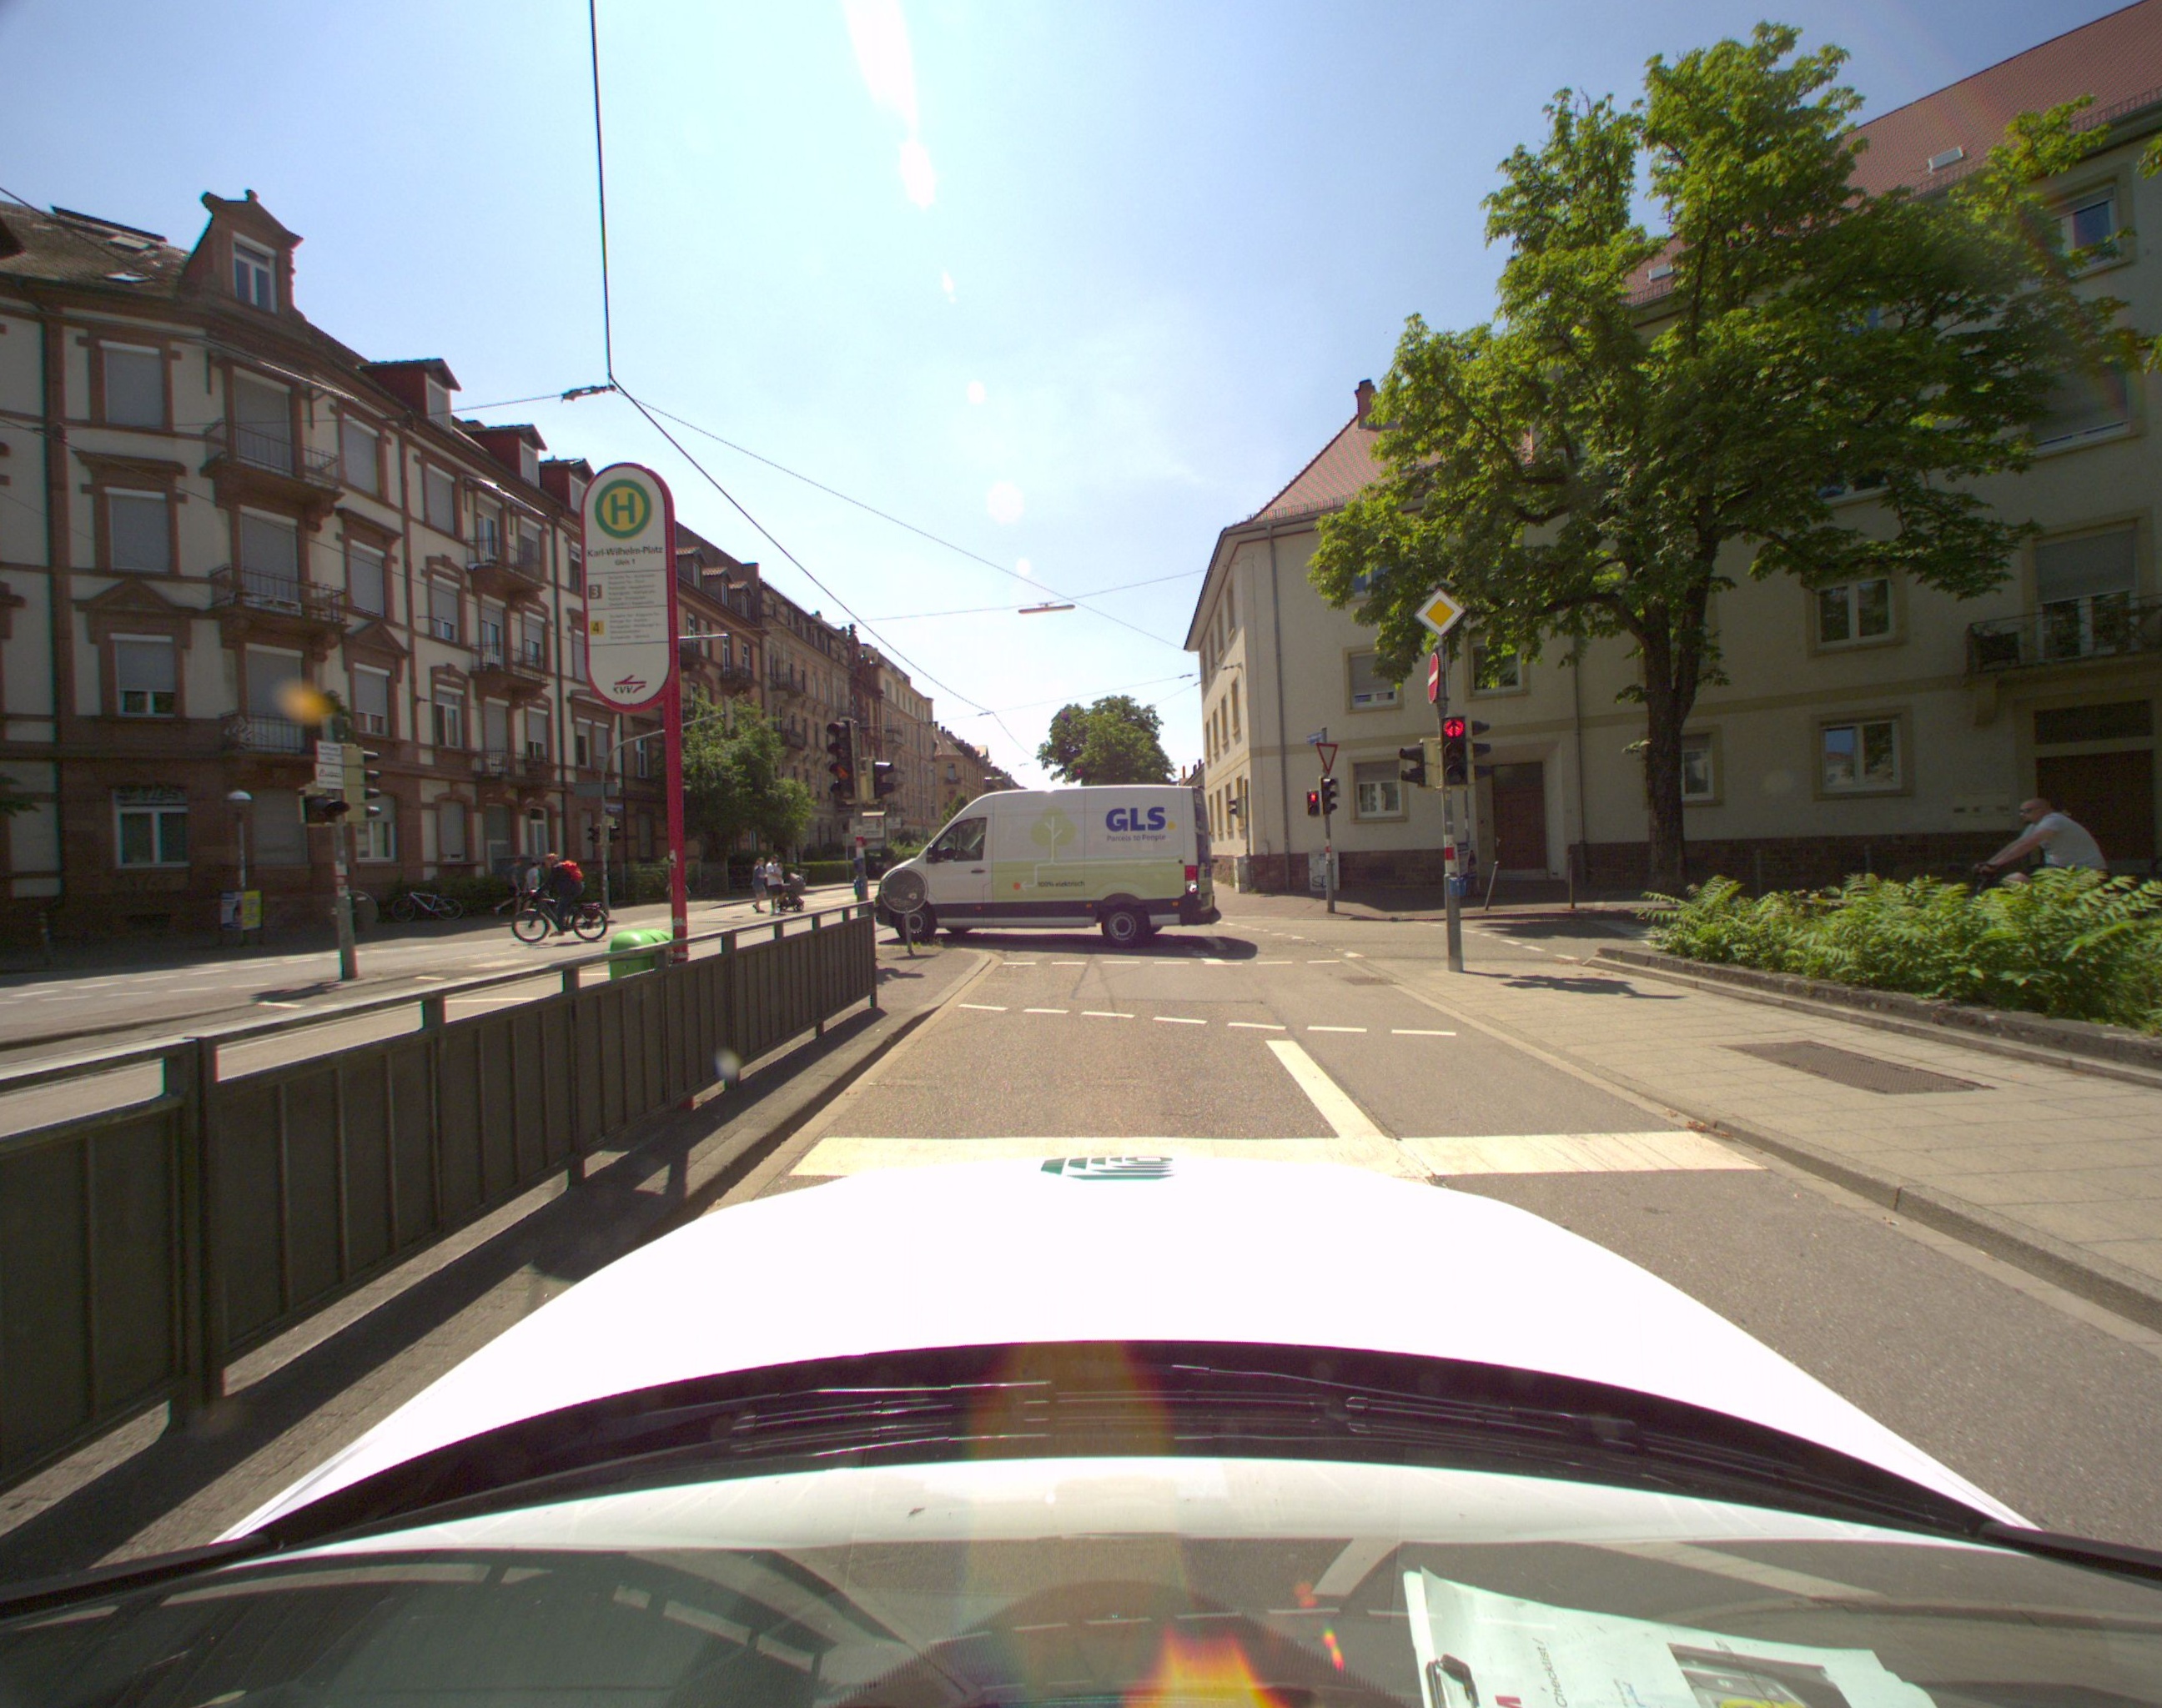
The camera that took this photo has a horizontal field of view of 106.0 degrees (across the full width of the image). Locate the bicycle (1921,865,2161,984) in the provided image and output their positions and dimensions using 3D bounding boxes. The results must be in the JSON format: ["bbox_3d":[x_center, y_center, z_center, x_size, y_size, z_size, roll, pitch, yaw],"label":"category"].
[{"bbox_3d":[9.622,0.661,8.039,1.743,1.057,0.704,-2,-1,39],"label":"bicycle"}]

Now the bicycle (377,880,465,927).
[{"bbox_3d":[-19.554,1.435,24.153,0.557,1.294,1.975,-1,-1,43],"label":"bicycle"}]

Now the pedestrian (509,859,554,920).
[{"bbox_3d":[-16.933,1.064,25.108,0.808,1.822,0.879,0,1,34],"label":"pedestrian"}]

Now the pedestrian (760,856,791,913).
[{"bbox_3d":[-8.932,0.895,23.802,0.671,1.645,0.559,0,-1,6],"label":"pedestrian"}]

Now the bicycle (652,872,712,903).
[{"bbox_3d":[-15.669,1.298,32.075,0.934,1.136,2.774,0,-1,1],"label":"bicycle"}]

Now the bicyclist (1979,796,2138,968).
[{"bbox_3d":[9.610,0.262,8.053,0.838,1.592,0.704,-2,-1,39],"label":"bicyclist"}]

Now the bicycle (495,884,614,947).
[{"bbox_3d":[-10.584,1.222,16.411,1.917,1.173,0.647,-1,-1,-6],"label":"bicycle"}]

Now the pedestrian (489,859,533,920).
[{"bbox_3d":[-17.695,1.071,25.296,0.808,1.822,0.879,0,1,34],"label":"pedestrian"}]

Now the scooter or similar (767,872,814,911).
[{"bbox_3d":[-8.783,1.134,24.628,1.195,1.155,0.559,0,-1,7],"label":"scooter or similar"}]

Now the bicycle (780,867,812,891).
[{"bbox_3d":[-14.417,1.253,41.246,0.936,1.136,2.767,0,-1,-7],"label":"bicycle"}]

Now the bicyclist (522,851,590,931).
[{"bbox_3d":[-10.522,0.726,16.359,0.894,1.561,0.721,-1,-1,-6],"label":"bicyclist"}]

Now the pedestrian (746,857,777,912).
[{"bbox_3d":[-9.703,0.914,24.734,0.671,1.645,0.559,0,-1,6],"label":"pedestrian"}]

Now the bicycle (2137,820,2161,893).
[{"bbox_3d":[17.012,0.022,12.078,0.527,1.104,1.589,-2,0,-34],"label":"bicycle"}]

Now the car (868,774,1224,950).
[{"bbox_3d":[-0.543,0.151,14.239,5.765,2.673,2.284,-1,-1,15],"label":"car"}]
